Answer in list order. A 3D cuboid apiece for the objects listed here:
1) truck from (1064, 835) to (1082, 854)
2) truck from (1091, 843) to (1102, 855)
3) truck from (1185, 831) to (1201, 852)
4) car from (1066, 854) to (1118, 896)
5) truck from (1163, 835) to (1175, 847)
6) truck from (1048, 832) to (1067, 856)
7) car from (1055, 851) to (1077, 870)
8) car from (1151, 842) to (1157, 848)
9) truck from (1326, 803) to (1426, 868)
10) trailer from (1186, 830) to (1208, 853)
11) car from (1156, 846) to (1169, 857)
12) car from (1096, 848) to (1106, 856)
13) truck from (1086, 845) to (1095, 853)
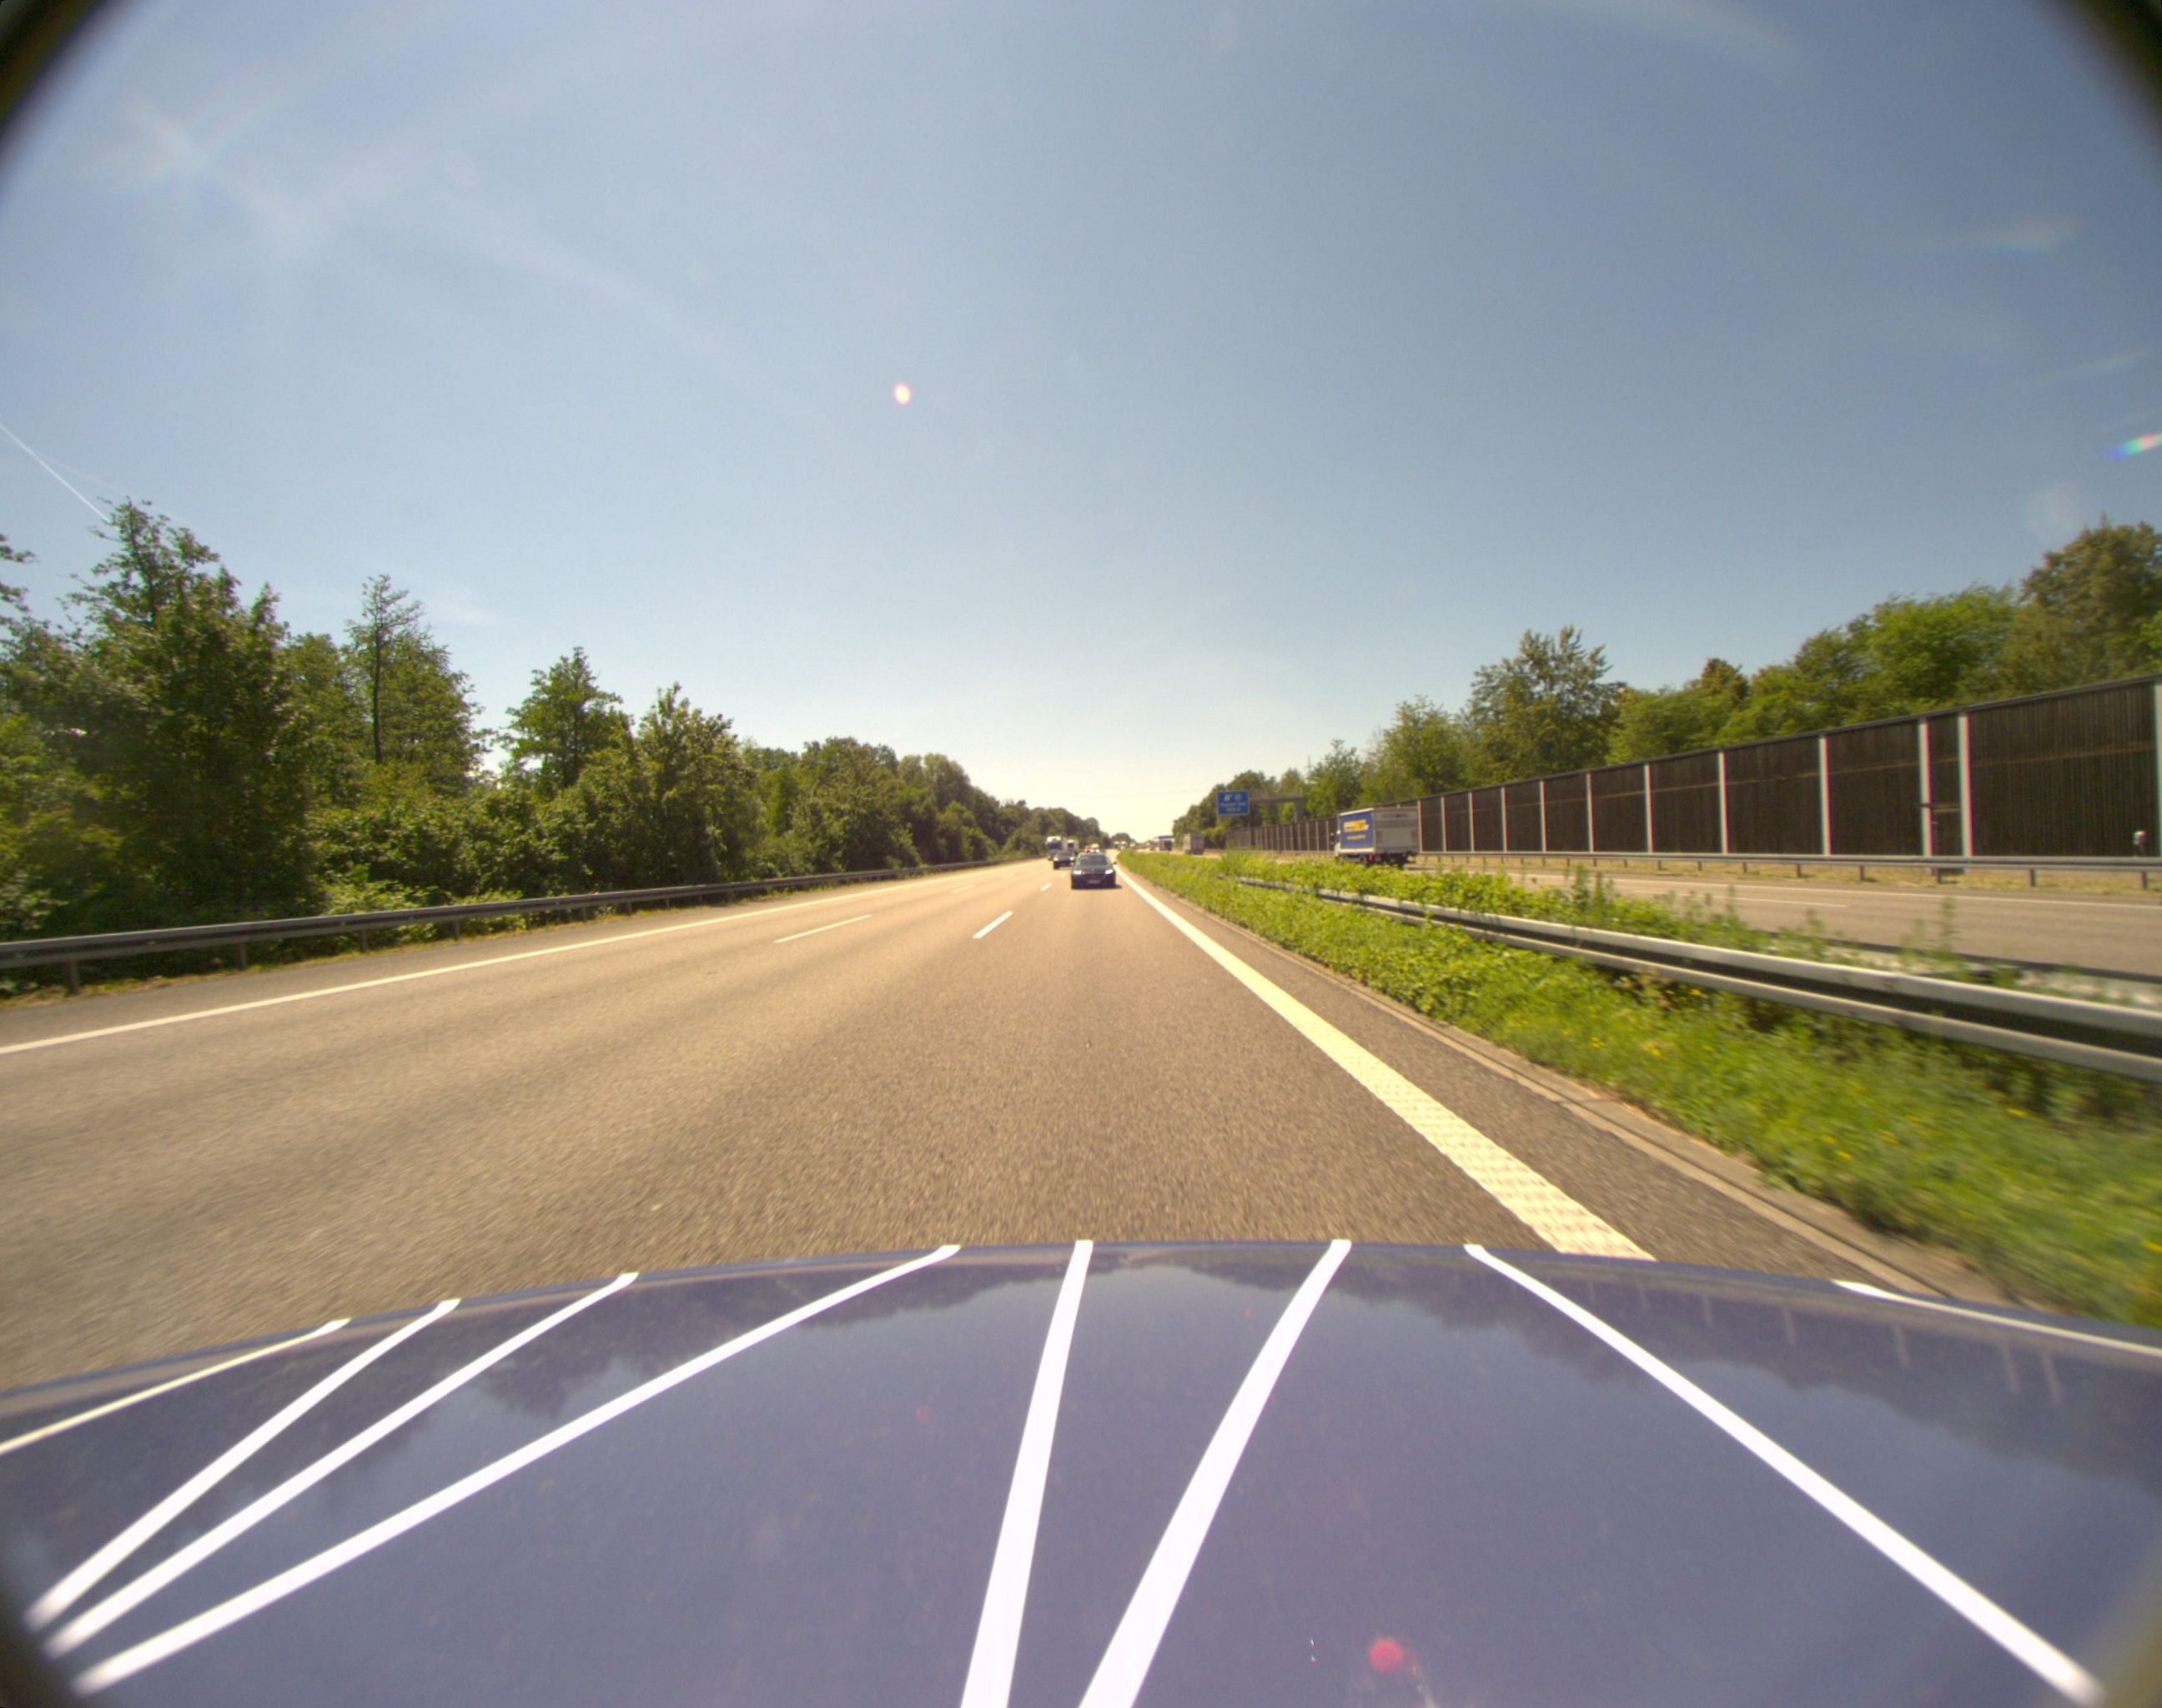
[{"bbox_3d":[-1.782,-2.165,176.412,3.049,3.947,14.456,-2,0,3],"label":"truck"},{"bbox_3d":[4.214,-1.448,207.893,2.859,3.163,10.710,-1,0,0],"label":"truck"},{"bbox_3d":[22.601,-2.440,153.471,2.526,4.043,6.371,-2,1,2],"label":"truck"},{"bbox_3d":[0.457,0.749,29.451,1.800,1.390,4.833,-2,0,2],"label":"car"},{"bbox_3d":[27.819,-4.061,240.217,2.877,3.584,9.952,-2,1,3],"label":"truck"},{"bbox_3d":[-3.970,-1.701,130.023,2.729,3.952,6.501,-2,1,2],"label":"truck"},{"bbox_3d":[-1.320,0.565,69.461,1.862,1.614,3.737,-2,0,1],"label":"car"},{"bbox_3d":[25.066,-3.018,260.581,1.998,2.002,5.103,-2,1,4],"label":"car"},{"bbox_3d":[18.158,-1.086,47.444,2.840,3.588,8.744,-2,1,1],"label":"truck"},{"bbox_3d":[22.343,-2.366,147.011,2.490,4.112,13.654,-2,1,3],"label":"trailer"},{"bbox_3d":[12.308,-0.446,114.711,1.587,1.579,4.000,-2,1,3],"label":"car"},{"bbox_3d":[4.355,-0.459,161.719,1.879,1.630,4.001,-2,1,4],"label":"car"},{"bbox_3d":[3.041,-1.728,249.792,2.436,2.426,10.011,-2,1,3],"label":"truck"}]
